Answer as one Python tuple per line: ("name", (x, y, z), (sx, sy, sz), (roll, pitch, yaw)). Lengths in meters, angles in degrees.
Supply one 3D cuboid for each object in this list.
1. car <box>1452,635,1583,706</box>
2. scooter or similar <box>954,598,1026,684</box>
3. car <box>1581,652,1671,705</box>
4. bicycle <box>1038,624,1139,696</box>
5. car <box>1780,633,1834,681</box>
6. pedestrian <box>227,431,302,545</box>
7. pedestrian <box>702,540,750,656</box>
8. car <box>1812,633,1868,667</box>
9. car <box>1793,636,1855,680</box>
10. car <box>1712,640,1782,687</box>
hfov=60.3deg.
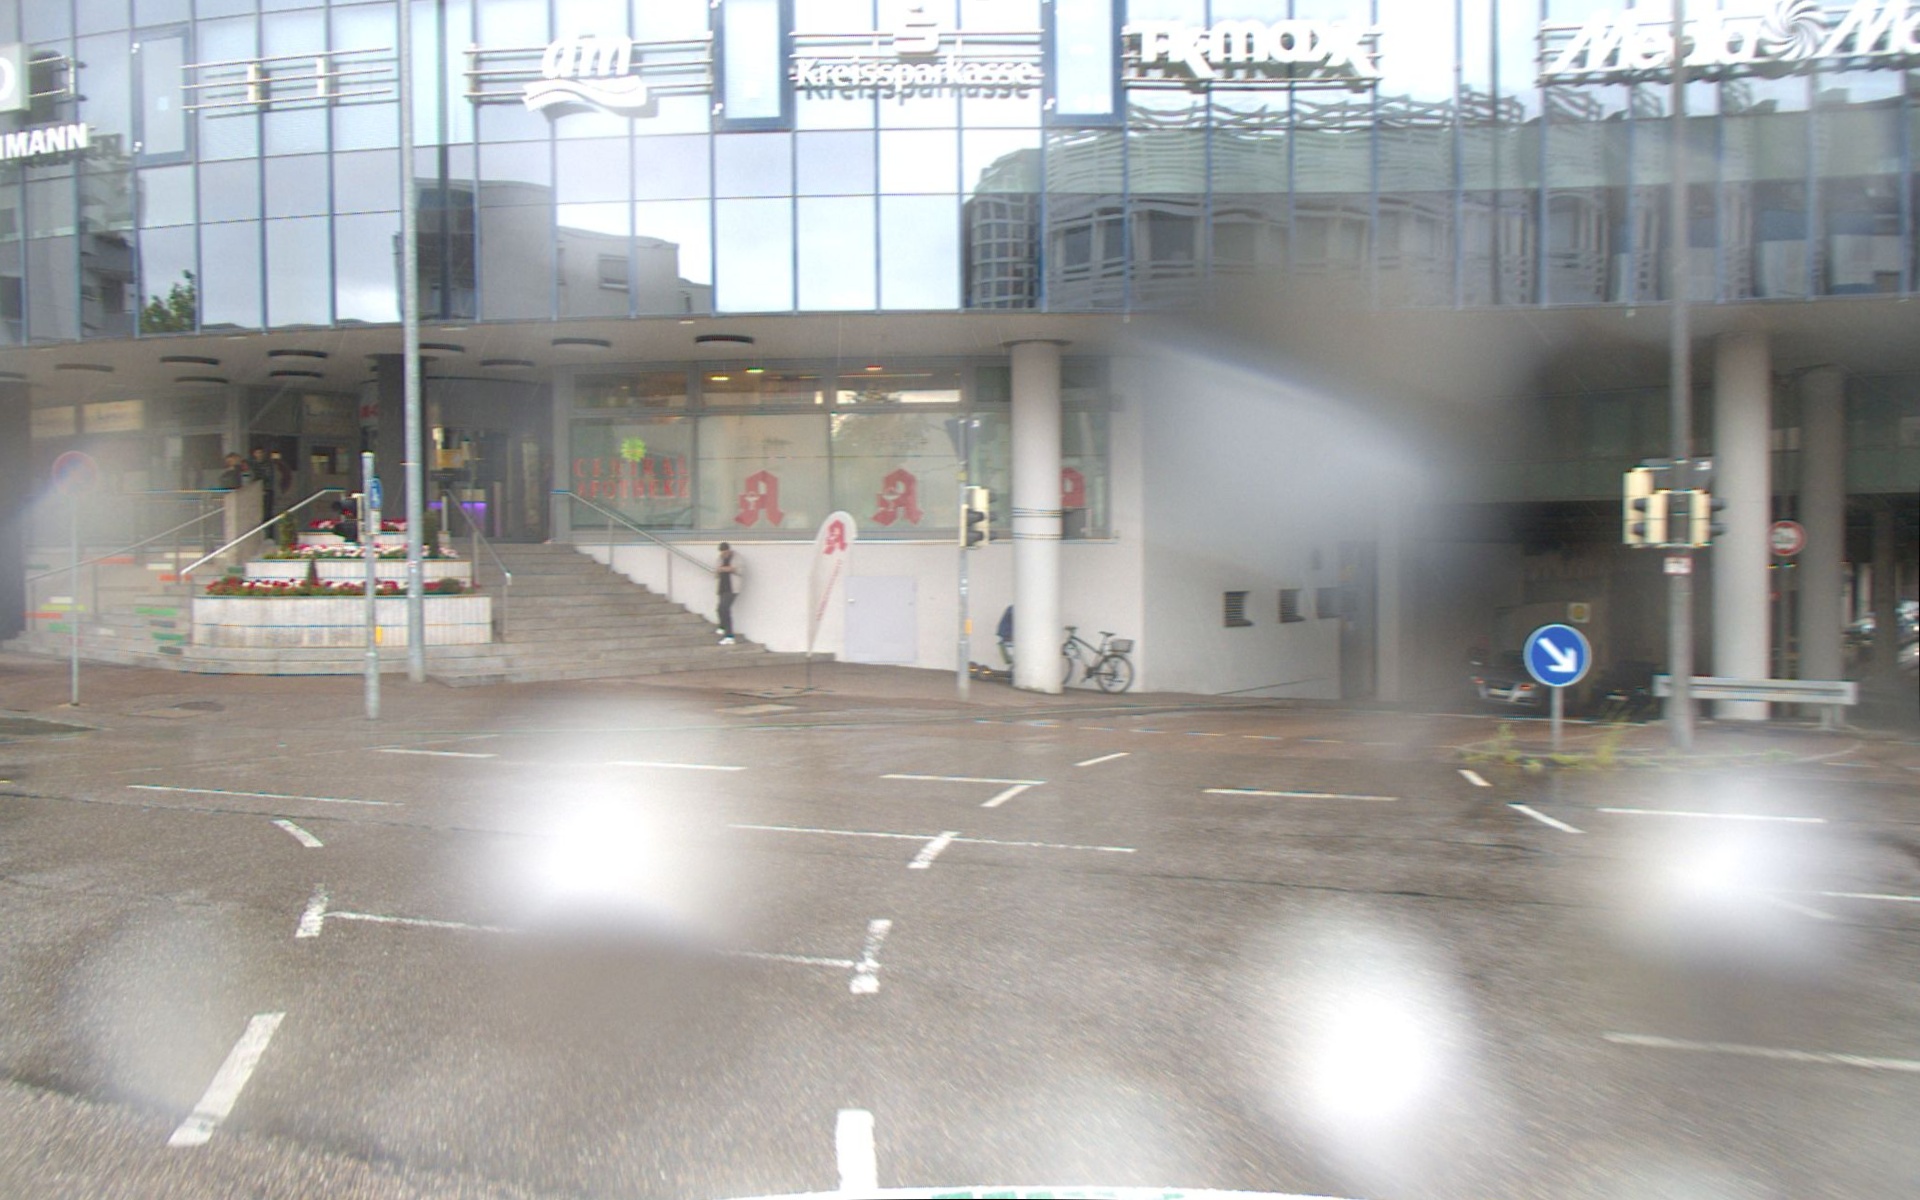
("car", (13.094, 1.675, 38.726), (1.860, 1.495, 4.013), (0, -3, 35))
("scooter or similar", (0.507, 0.682, 27.851), (1.142, 1.396, 0.489), (2, 1, 4))
("car", (19.759, 2.287, 48.997), (1.739, 1.489, 3.863), (0, -2, 34))
("bicycle", (2.155, 1.009, 27.800), (1.554, 1.035, 0.451), (6, 0, -12))
("car", (34.498, 2.287, 67.333), (1.802, 1.758, 3.993), (1, 1, 30))
("pedestrian", (-12.793, -2.049, 30.435), (0.813, 2.048, 0.952), (2, 1, 24))
("pedestrian", (-4.007, -0.039, 28.320), (0.642, 1.941, 0.595), (1, 1, 11))
("car", (41.810, 2.344, 78.531), (1.959, 1.489, 3.988), (0, 0, 34))
("car", (37.643, 2.498, 72.032), (1.959, 1.692, 3.988), (2, 2, 34))
("car", (30.133, 2.400, 63.267), (1.881, 1.615, 3.927), (0, 0, 34))
